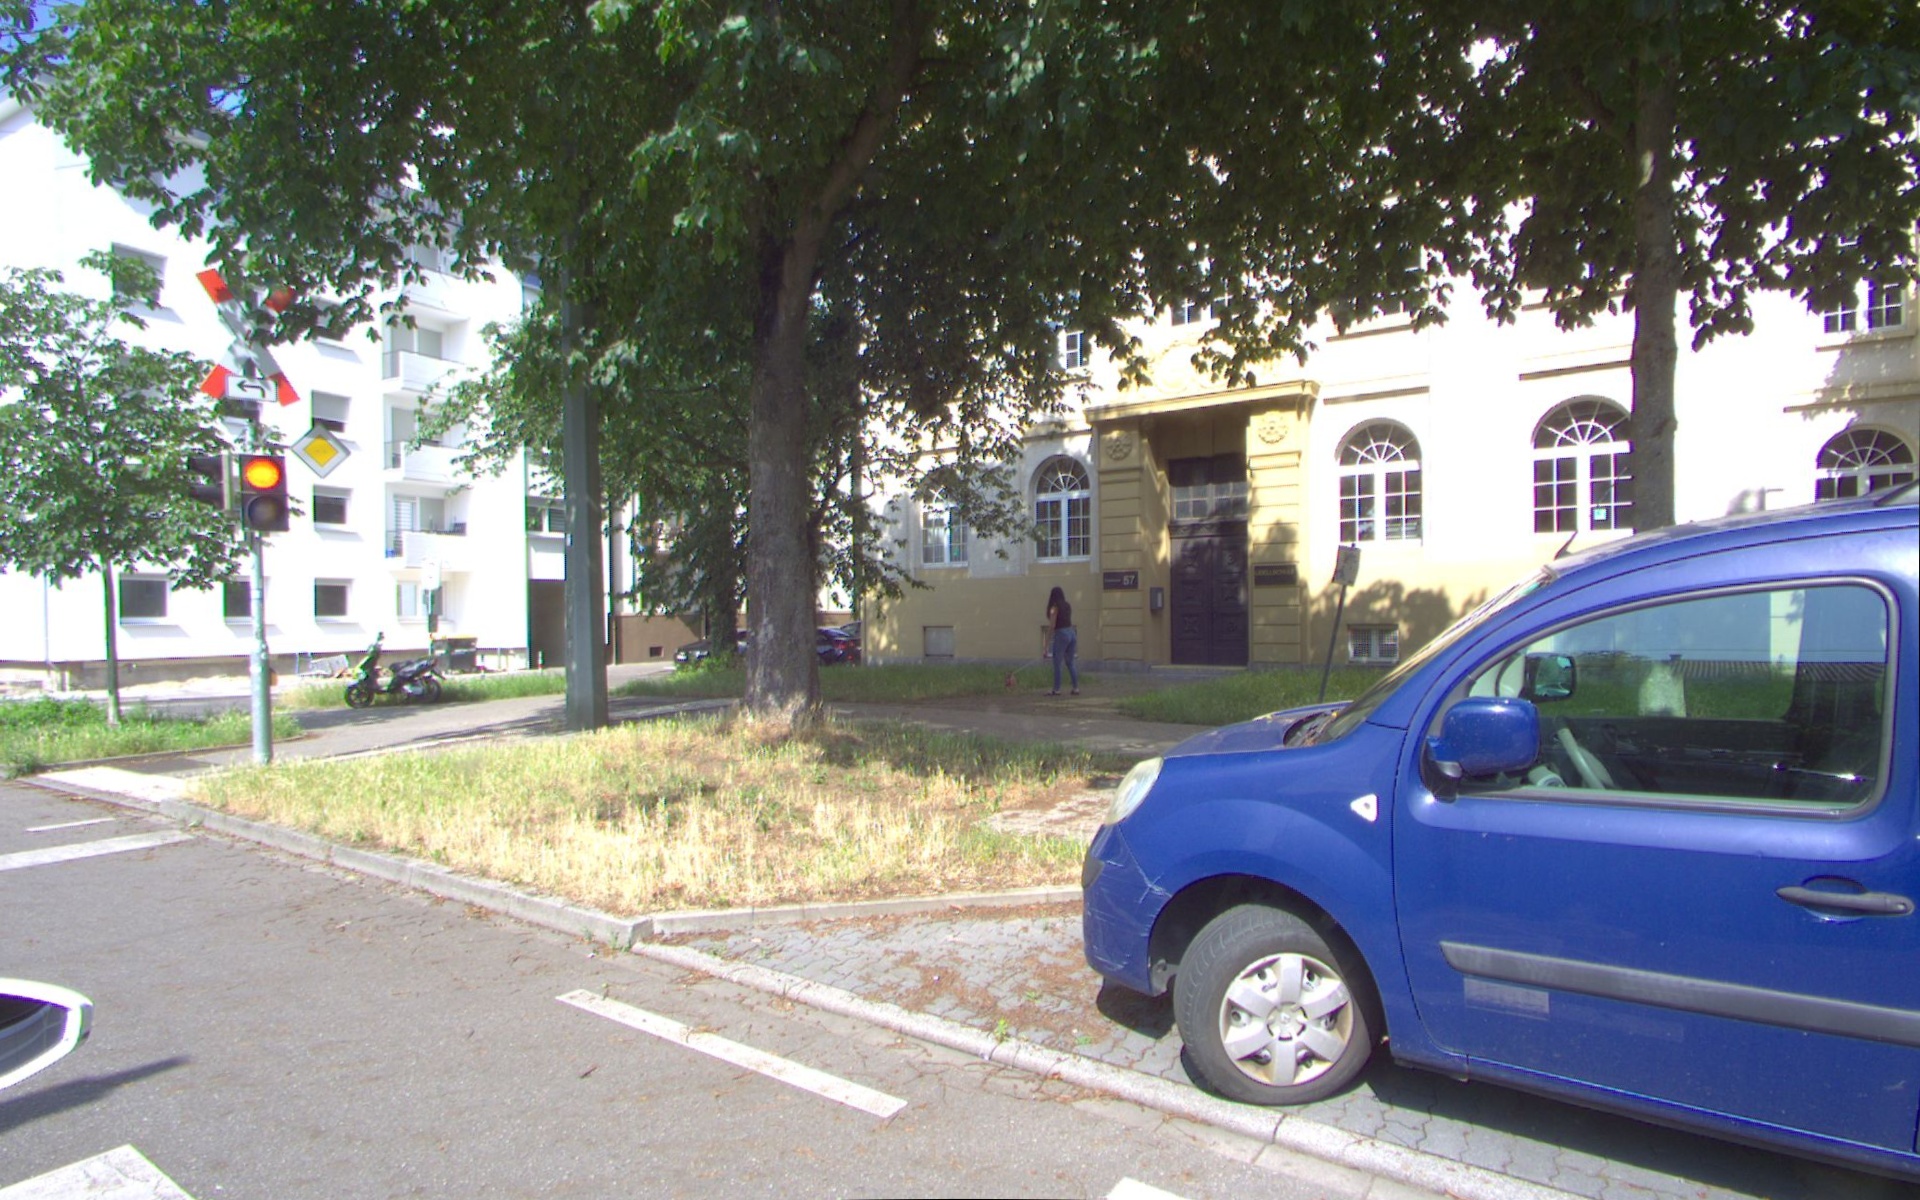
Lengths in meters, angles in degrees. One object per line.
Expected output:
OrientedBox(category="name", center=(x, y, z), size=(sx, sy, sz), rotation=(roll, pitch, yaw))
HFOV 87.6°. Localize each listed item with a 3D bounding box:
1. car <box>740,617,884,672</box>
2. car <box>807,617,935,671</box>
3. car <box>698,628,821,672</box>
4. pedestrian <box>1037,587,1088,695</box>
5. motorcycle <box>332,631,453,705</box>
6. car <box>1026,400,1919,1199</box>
OrientedBox(category="car", center=(-4.296, 1.261, 28.940), size=(3.942, 1.478, 1.736), rotation=(-1, 0, 32))
OrientedBox(category="car", center=(-2.821, 1.329, 31.335), size=(3.955, 1.560, 1.797), rotation=(-1, -1, 42))
OrientedBox(category="car", center=(-6.971, 1.751, 35.193), size=(1.757, 1.430, 4.154), rotation=(-2, -3, 36))
OrientedBox(category="pedestrian", center=(1.573, 0.624, 15.358), size=(0.532, 1.617, 0.630), rotation=(-1, 0, 31))
OrientedBox(category="motorcycle", center=(-10.389, 1.242, 18.358), size=(1.811, 1.233, 0.571), rotation=(-2, 4, 0))
OrientedBox(category="car", center=(2.417, 0.541, 2.840), size=(4.128, 1.921, 1.816), rotation=(0, 1, 36))
